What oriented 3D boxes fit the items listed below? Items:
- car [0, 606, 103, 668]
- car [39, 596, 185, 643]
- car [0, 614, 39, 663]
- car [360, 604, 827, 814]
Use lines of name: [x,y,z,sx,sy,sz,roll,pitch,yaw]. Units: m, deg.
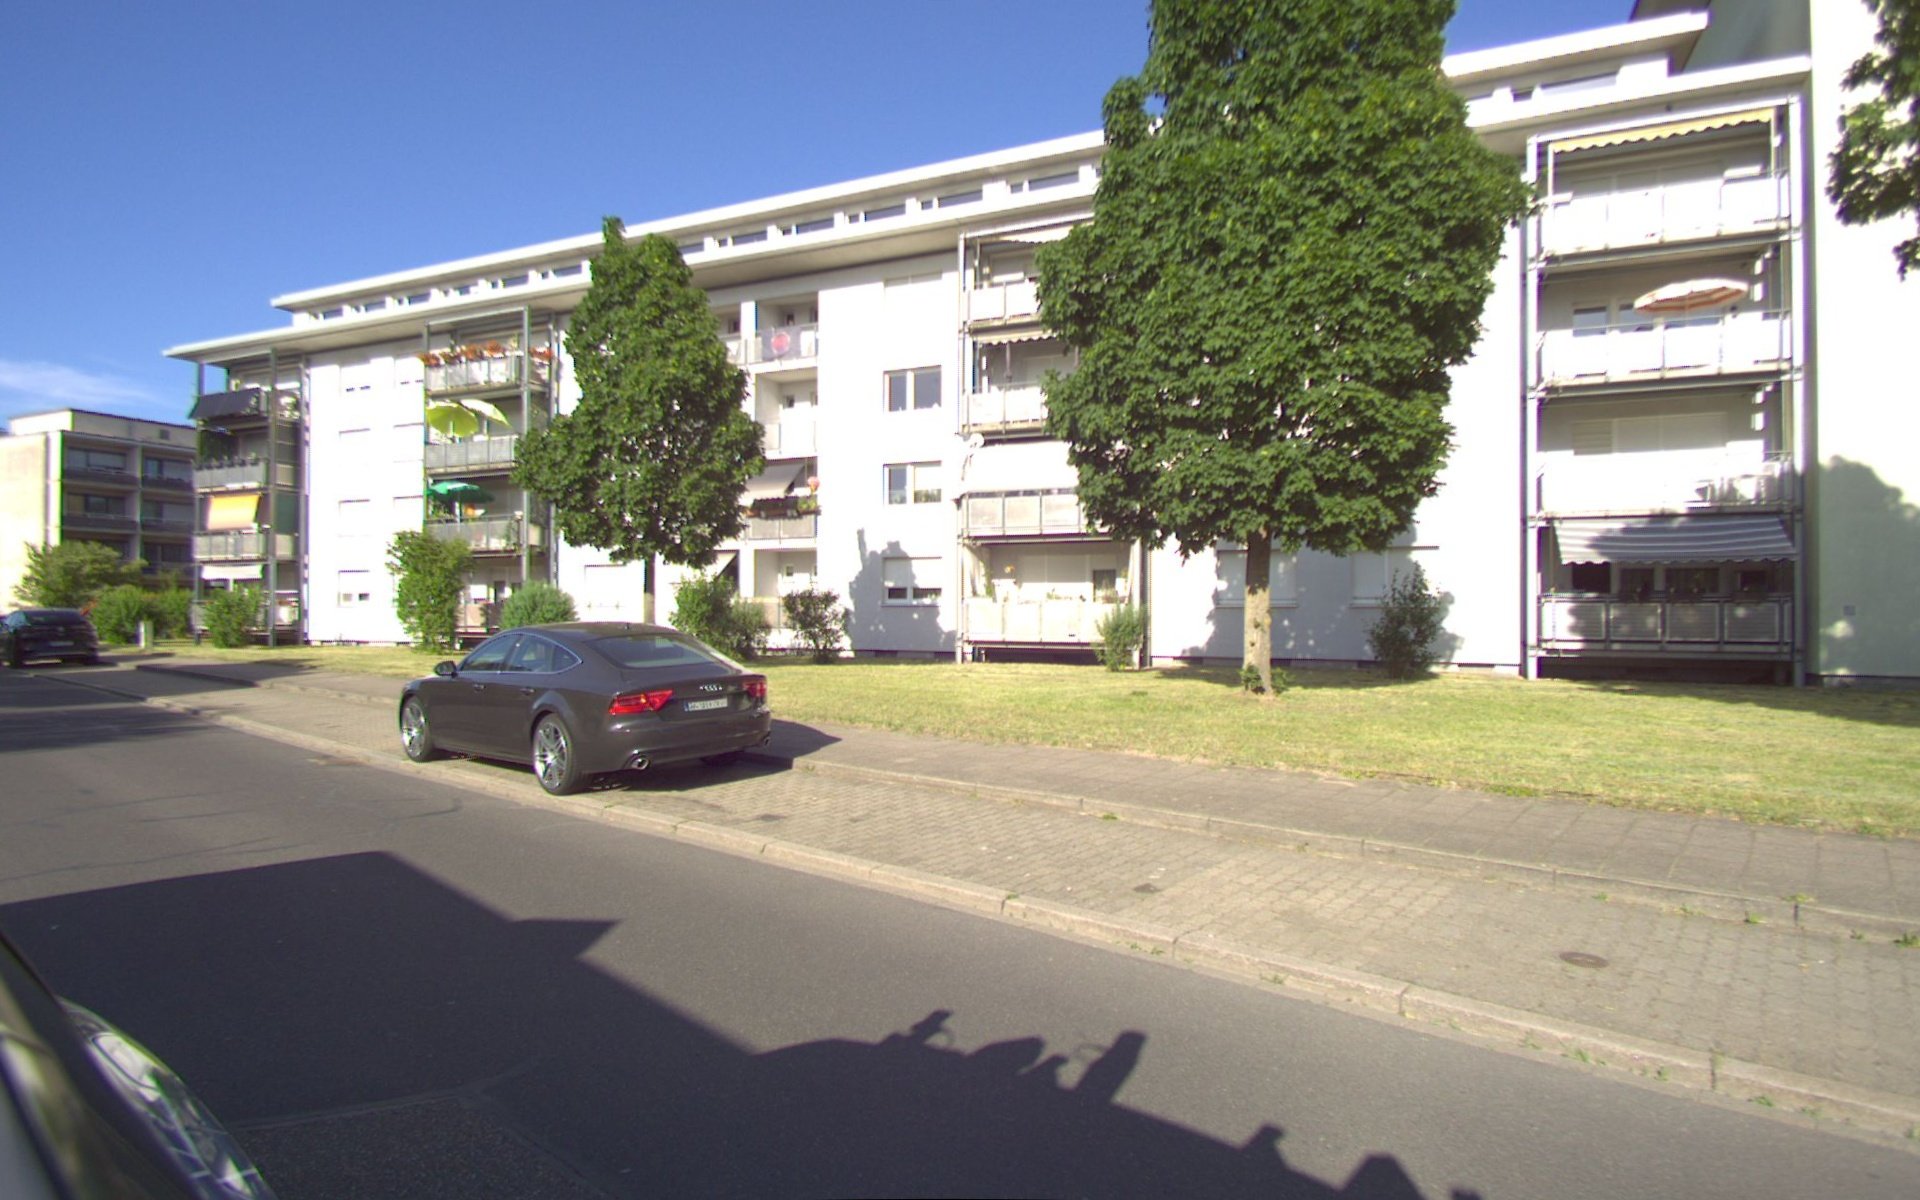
car: [-25.996,0.991,28.421,4.803,1.616,1.897,0,-2,37]
car: [-47.039,1.119,56.288,2.208,2.447,5.854,-2,-3,34]
car: [-30.942,1.215,32.286,4.325,1.478,1.631,-1,-1,38]
car: [-3.856,0.849,10.046,5.252,1.504,2.014,-1,1,41]
